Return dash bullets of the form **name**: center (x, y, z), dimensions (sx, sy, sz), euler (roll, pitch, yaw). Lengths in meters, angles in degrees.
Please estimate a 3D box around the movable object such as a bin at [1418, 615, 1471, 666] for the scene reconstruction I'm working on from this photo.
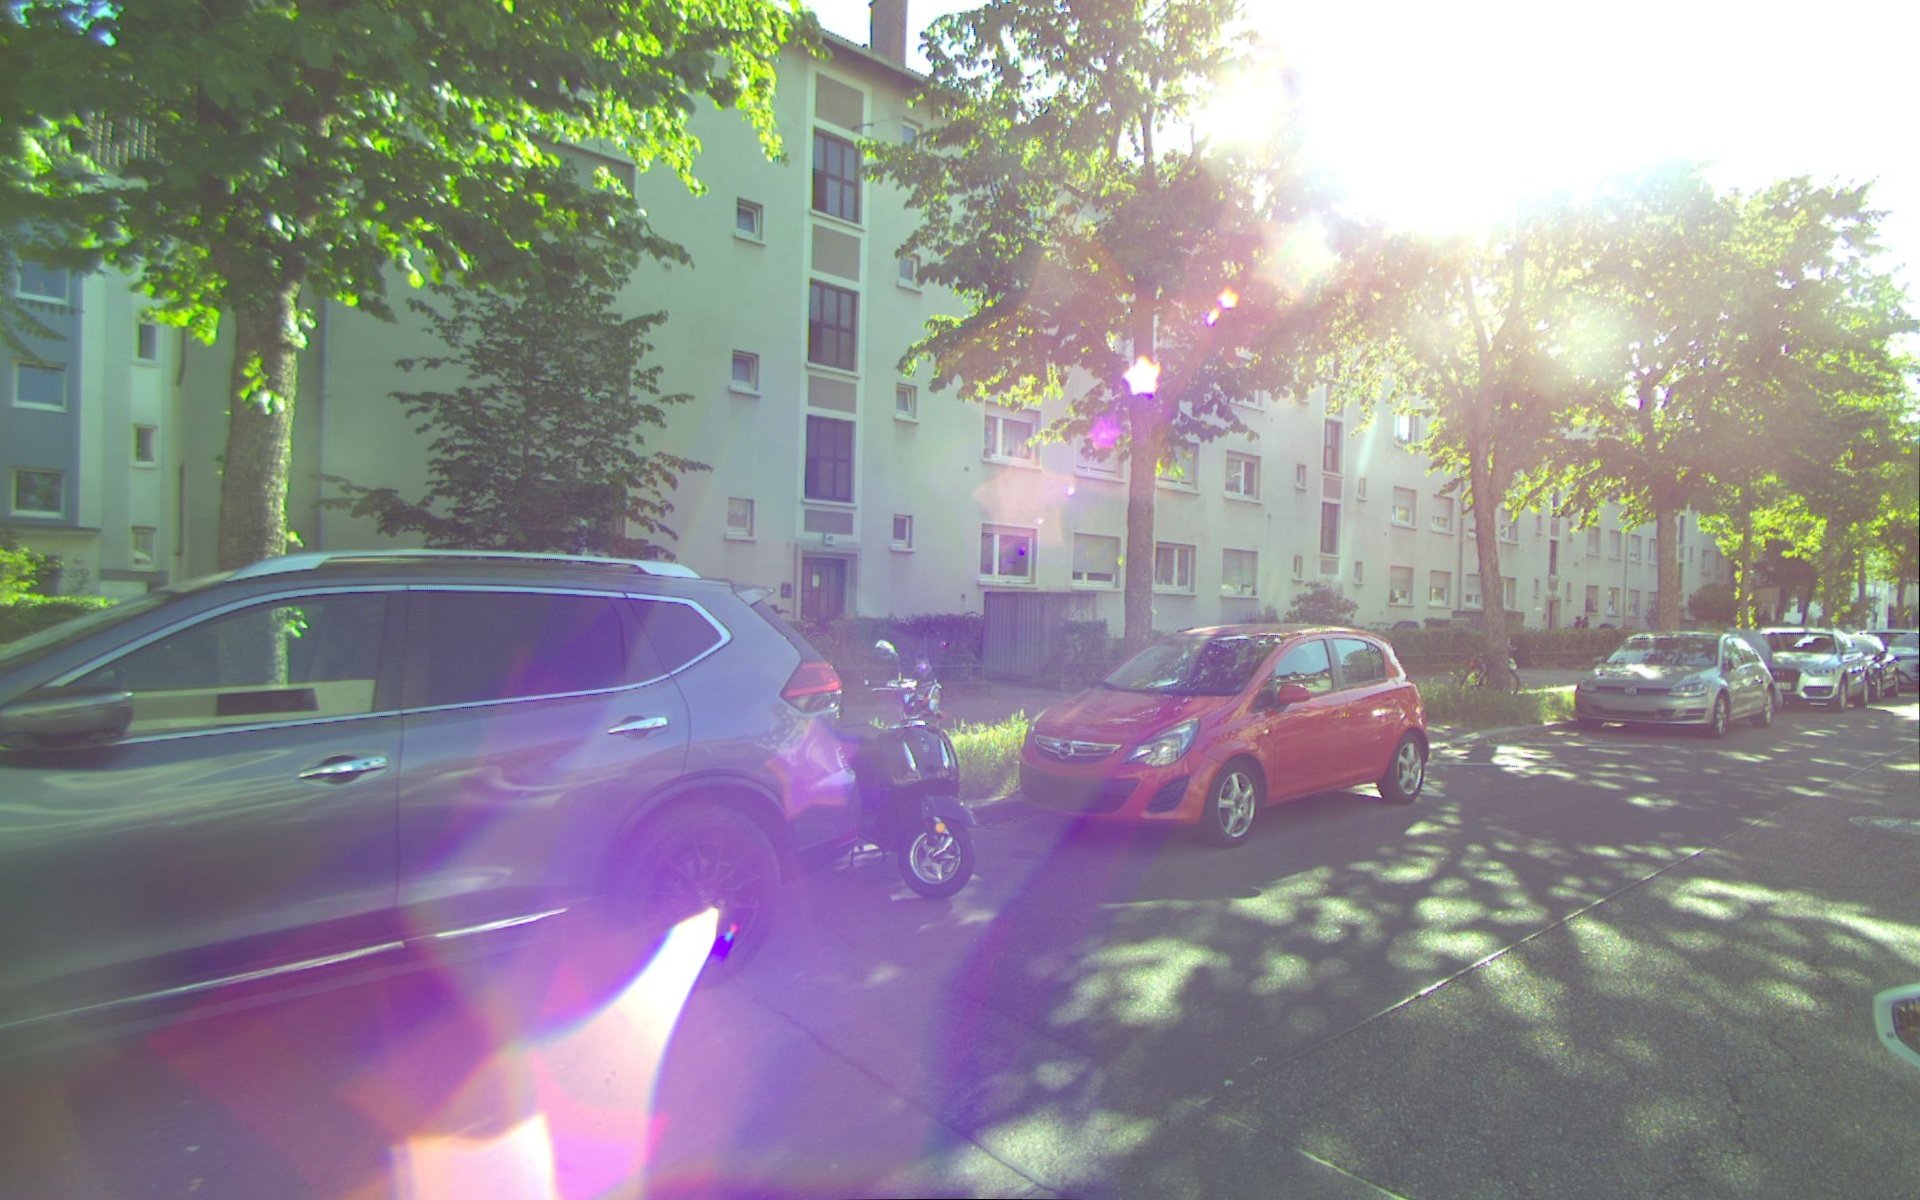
- **movable object such as a bin**: center (13.167, 1.089, 27.294), dimensions (0.920, 1.341, 1.371), euler (1, -1, 44)

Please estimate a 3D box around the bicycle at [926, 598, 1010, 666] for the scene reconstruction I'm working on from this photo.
- **bicycle**: center (0.181, 0.636, 20.043), dimensions (1.899, 1.306, 0.395), euler (2, -1, -42)

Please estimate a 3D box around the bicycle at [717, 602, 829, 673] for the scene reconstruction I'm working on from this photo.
- **bicycle**: center (-3.361, 0.664, 18.153), dimensions (1.895, 1.217, 0.680), euler (2, 0, -38)

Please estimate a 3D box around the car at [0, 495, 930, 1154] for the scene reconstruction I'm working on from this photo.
- **car**: center (-2.504, 0.601, 3.767), dimensions (4.777, 1.710, 1.752), euler (2, -1, -42)

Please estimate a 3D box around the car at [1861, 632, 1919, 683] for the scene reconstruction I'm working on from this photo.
- **car**: center (29.621, 1.753, 31.278), dimensions (4.582, 1.497, 1.714), euler (2, -4, -40)

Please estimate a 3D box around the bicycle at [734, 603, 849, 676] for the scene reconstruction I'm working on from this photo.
- **bicycle**: center (-2.931, 0.682, 17.598), dimensions (1.895, 1.217, 0.680), euler (2, 0, -38)

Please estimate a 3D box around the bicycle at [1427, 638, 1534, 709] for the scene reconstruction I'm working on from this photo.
- **bicycle**: center (8.420, 1.159, 16.206), dimensions (2.069, 1.029, 0.527), euler (2, 7, -35)

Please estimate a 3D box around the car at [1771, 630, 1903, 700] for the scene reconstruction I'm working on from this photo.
- **car**: center (20.659, 1.454, 23.591), dimensions (4.783, 1.466, 1.713), euler (1, -2, -41)

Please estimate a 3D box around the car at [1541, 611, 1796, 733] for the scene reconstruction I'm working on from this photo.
- **car**: center (10.828, 0.988, 15.227), dimensions (4.568, 1.544, 2.026), euler (2, 0, -40)

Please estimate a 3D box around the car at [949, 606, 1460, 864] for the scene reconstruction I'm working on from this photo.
- **car**: center (2.094, 0.838, 7.946), dimensions (4.148, 1.489, 1.840), euler (2, 0, -40)

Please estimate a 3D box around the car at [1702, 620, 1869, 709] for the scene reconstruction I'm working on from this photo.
- **car**: center (16.736, 1.214, 20.270), dimensions (4.689, 1.544, 2.044), euler (2, 0, -44)

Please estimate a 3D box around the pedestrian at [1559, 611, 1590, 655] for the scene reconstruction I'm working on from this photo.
- **pedestrian**: center (27.476, 1.450, 44.895), dimensions (0.863, 1.939, 0.781), euler (1, 0, -13)

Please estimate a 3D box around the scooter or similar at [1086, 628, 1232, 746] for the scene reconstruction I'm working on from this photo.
- **scooter or similar**: center (2.209, 0.958, 11.199), dimensions (1.487, 1.251, 0.555), euler (1, 0, -11)

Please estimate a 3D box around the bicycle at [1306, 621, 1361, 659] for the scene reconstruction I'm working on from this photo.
- **bicycle**: center (11.066, 1.171, 29.749), dimensions (0.778, 1.055, 1.923), euler (1, -1, 45)

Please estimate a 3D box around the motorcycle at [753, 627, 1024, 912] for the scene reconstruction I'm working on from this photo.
- **motorcycle**: center (-0.507, 0.860, 5.951), dimensions (0.778, 1.350, 1.943), euler (1, -1, -32)

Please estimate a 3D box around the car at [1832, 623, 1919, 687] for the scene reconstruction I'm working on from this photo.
- **car**: center (25.638, 1.504, 27.786), dimensions (4.333, 1.639, 1.713), euler (2, -4, -42)

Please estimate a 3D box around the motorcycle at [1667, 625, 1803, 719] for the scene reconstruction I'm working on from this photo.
- **motorcycle**: center (13.655, 1.226, 17.806), dimensions (0.969, 1.523, 2.235), euler (1, -1, 10)

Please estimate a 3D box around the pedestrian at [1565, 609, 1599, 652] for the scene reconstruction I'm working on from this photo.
- **pedestrian**: center (28.294, 1.401, 45.694), dimensions (1.014, 1.913, 0.928), euler (1, 0, -32)

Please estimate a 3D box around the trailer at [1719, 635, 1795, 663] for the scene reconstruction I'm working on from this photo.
- **trailer**: center (32.966, 2.001, 41.537), dimensions (3.253, 1.047, 1.775), euler (2, 0, -39)
